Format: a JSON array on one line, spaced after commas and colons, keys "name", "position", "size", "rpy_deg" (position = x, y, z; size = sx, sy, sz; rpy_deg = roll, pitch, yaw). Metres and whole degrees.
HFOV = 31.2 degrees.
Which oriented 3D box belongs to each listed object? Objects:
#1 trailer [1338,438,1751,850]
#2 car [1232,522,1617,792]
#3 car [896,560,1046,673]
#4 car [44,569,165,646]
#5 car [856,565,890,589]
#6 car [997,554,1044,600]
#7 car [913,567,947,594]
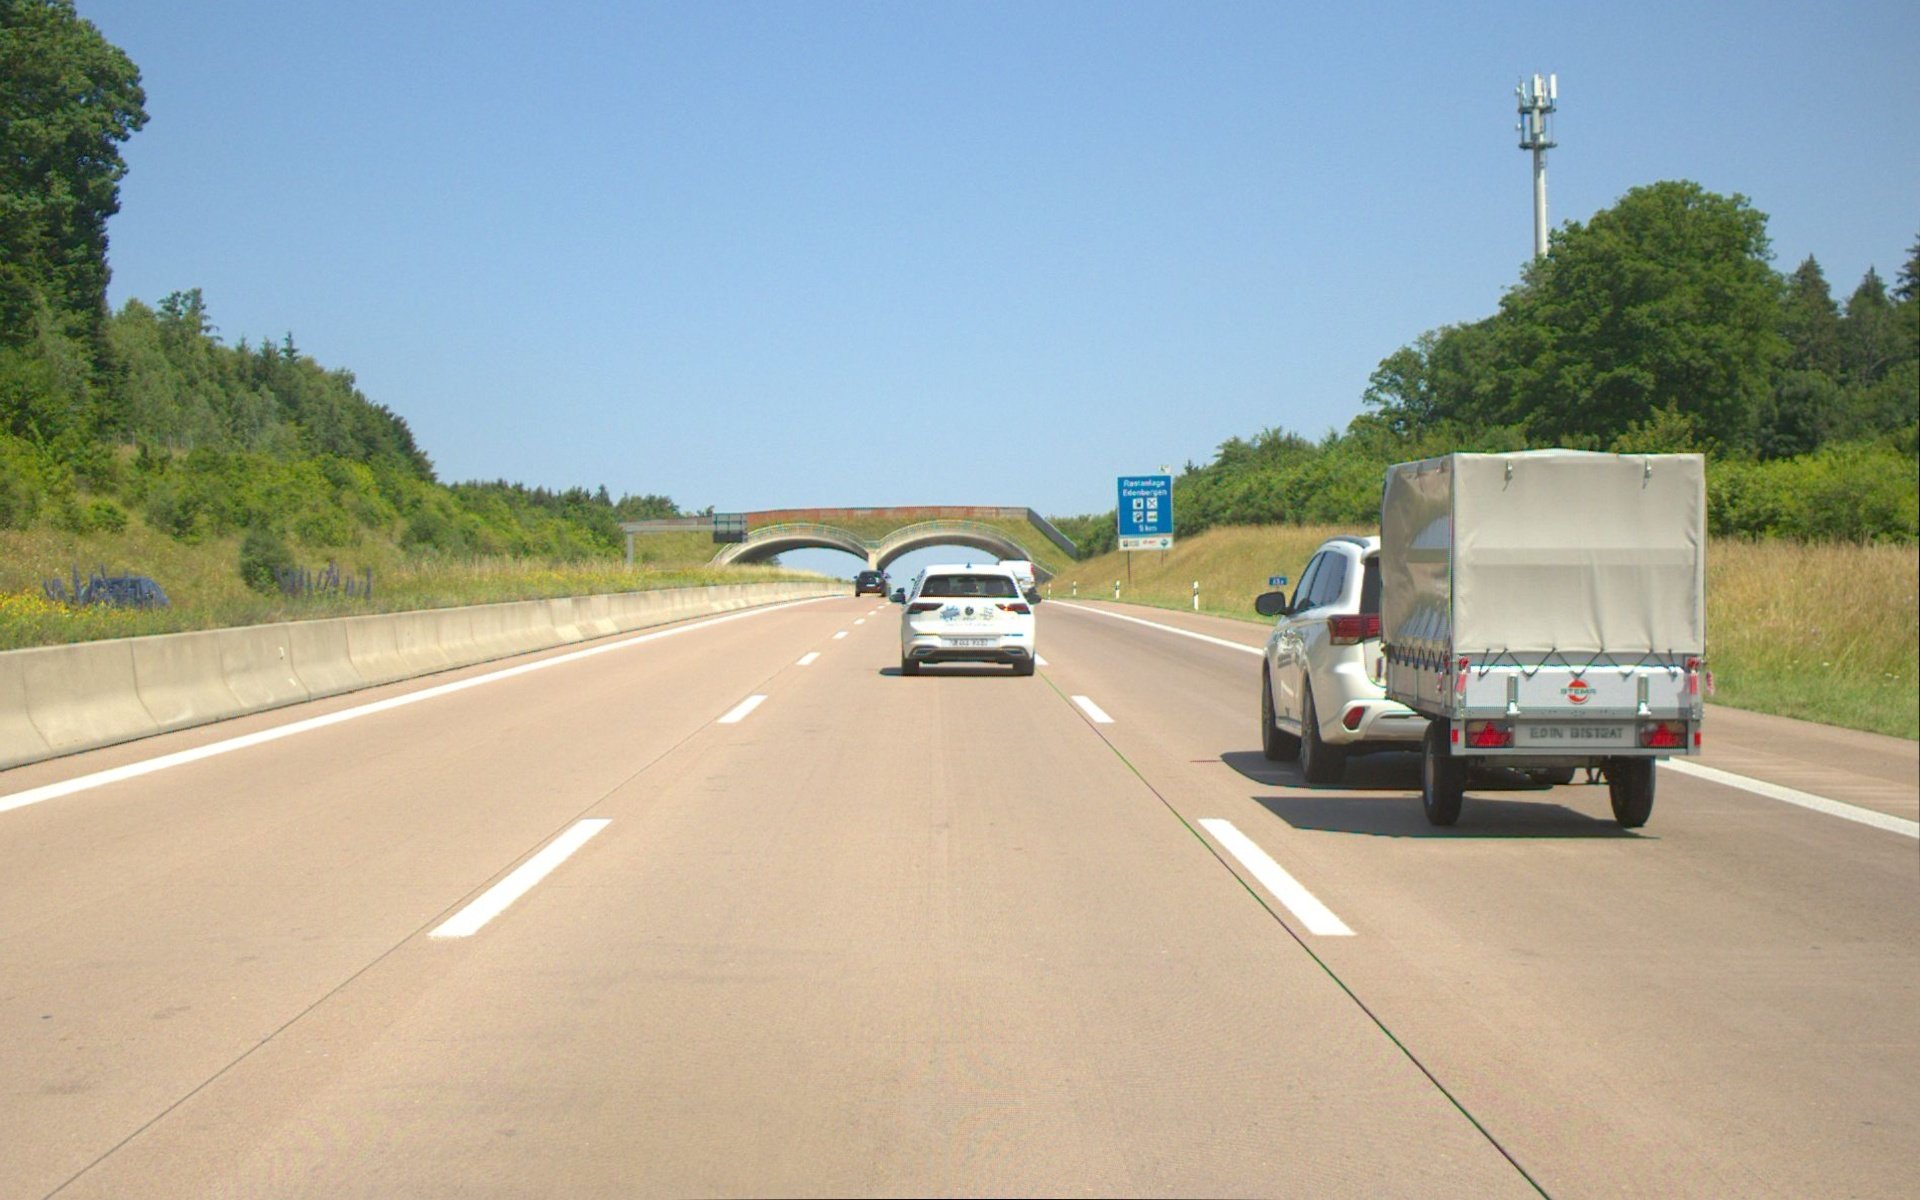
[{"name": "trailer", "position": [3.289, 0.211, 20.050], "size": [1.657, 2.156, 4.016], "rpy_deg": [0, 1, -1]}, {"name": "car", "position": [3.177, 0.334, 24.554], "size": [1.890, 1.722, 5.187], "rpy_deg": [0, 1, -2]}, {"name": "car", "position": [0.114, 0.190, 45.685], "size": [1.891, 1.393, 4.000], "rpy_deg": [1, 1, -1]}, {"name": "car", "position": [-20.134, 0.150, 81.089], "size": [1.890, 1.732, 4.464], "rpy_deg": [0, 1, -2]}, {"name": "car", "position": [-5.424, -1.464, 215.101], "size": [1.891, 1.458, 4.000], "rpy_deg": [0, 1, 2]}, {"name": "car", "position": [2.797, -1.083, 157.343], "size": [2.110, 2.047, 4.000], "rpy_deg": [0, 1, 2]}, {"name": "car", "position": [-1.717, -1.115, 196.645], "size": [1.891, 1.458, 4.000], "rpy_deg": [1, 1, 0]}]
